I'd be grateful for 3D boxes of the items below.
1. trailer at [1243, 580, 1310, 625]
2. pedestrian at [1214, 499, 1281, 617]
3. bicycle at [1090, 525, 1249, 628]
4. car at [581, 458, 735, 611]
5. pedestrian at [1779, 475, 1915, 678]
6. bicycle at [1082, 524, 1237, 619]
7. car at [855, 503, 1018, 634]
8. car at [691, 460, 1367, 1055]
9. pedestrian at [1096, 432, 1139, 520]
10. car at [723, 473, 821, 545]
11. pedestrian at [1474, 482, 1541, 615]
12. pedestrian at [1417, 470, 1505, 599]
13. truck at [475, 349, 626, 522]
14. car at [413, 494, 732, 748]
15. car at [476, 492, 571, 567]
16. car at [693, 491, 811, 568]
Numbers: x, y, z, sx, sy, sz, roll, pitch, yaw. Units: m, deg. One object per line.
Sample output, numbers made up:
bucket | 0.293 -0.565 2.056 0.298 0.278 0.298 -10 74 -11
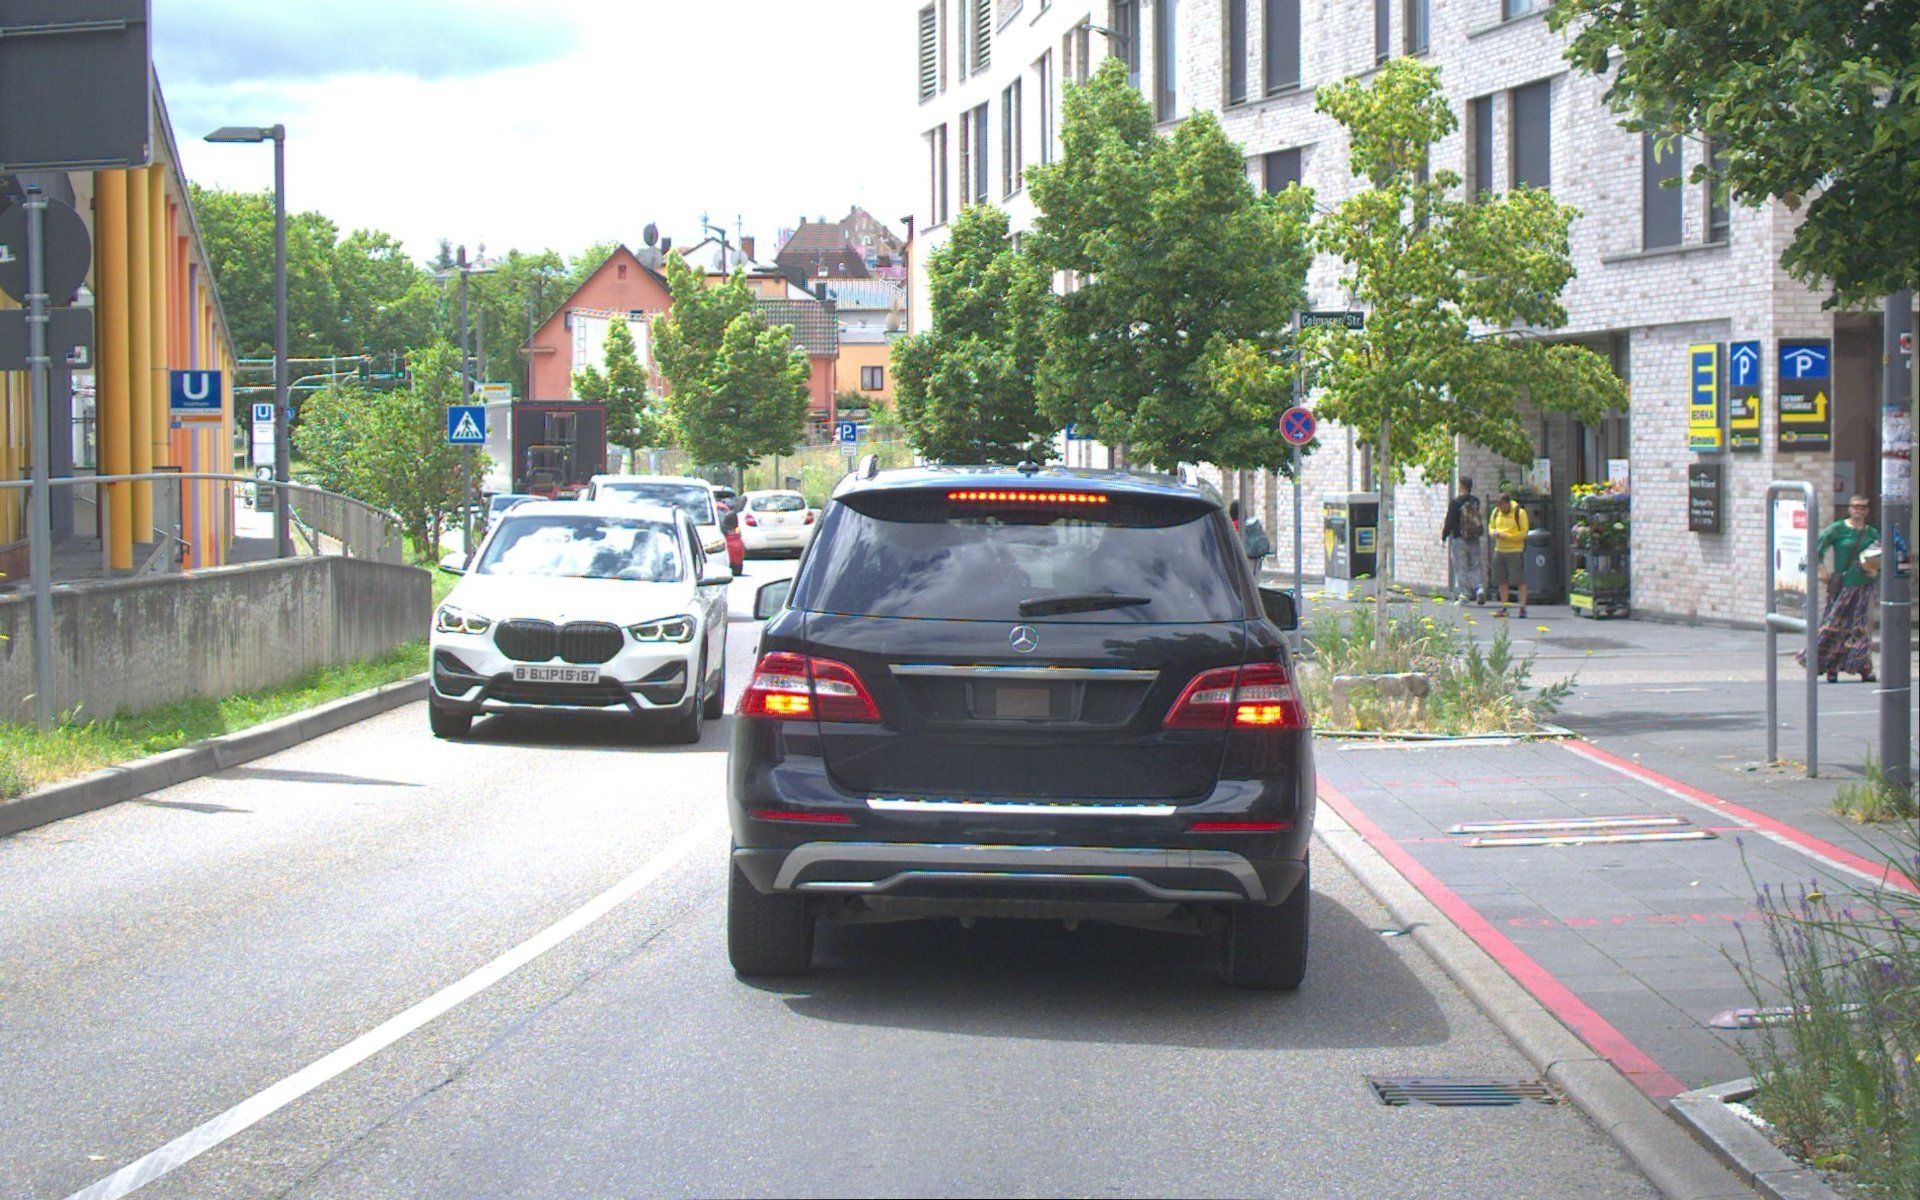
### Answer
trailer | 3.865 0.033 42.065 0.719 0.526 0.811 0 2 -2
pedestrian | 3.836 -0.560 45.904 0.812 1.560 0.930 1 0 1
bicycle | 2.562 -0.292 42.145 1.822 1.196 0.756 -1 2 -5
car | -4.354 -0.964 48.877 1.993 2.006 5.396 2 2 -6
pedestrian | 7.432 -0.202 28.782 0.746 1.633 0.925 -1 3 38
bicycle | 2.484 -0.357 42.971 1.822 1.127 0.756 -1 2 -5
car | -0.337 -0.431 43.380 1.726 1.451 3.810 -1 3 -5
car | 0.183 0.390 12.628 1.993 1.740 4.533 -2 2 -1
pedestrian | 2.672 -2.109 58.479 0.607 1.467 0.791 -2 3 -4
car | -4.250 -2.060 77.173 1.692 1.478 3.799 -2 3 -10
pedestrian | 7.023 -0.662 44.083 0.658 1.686 0.631 0 2 29
pedestrian | 6.857 -0.907 47.068 1.014 1.735 0.660 -1 2 -15
truck | -11.441 -4.438 95.310 3.202 4.520 9.032 0 1 -13
car | -2.629 0.076 24.206 1.822 1.579 4.166 2 2 -1
car | -9.151 -1.493 71.872 1.772 1.459 4.236 1 2 -9
car | -4.217 -1.437 69.119 1.887 1.460 4.071 -1 2 -10
